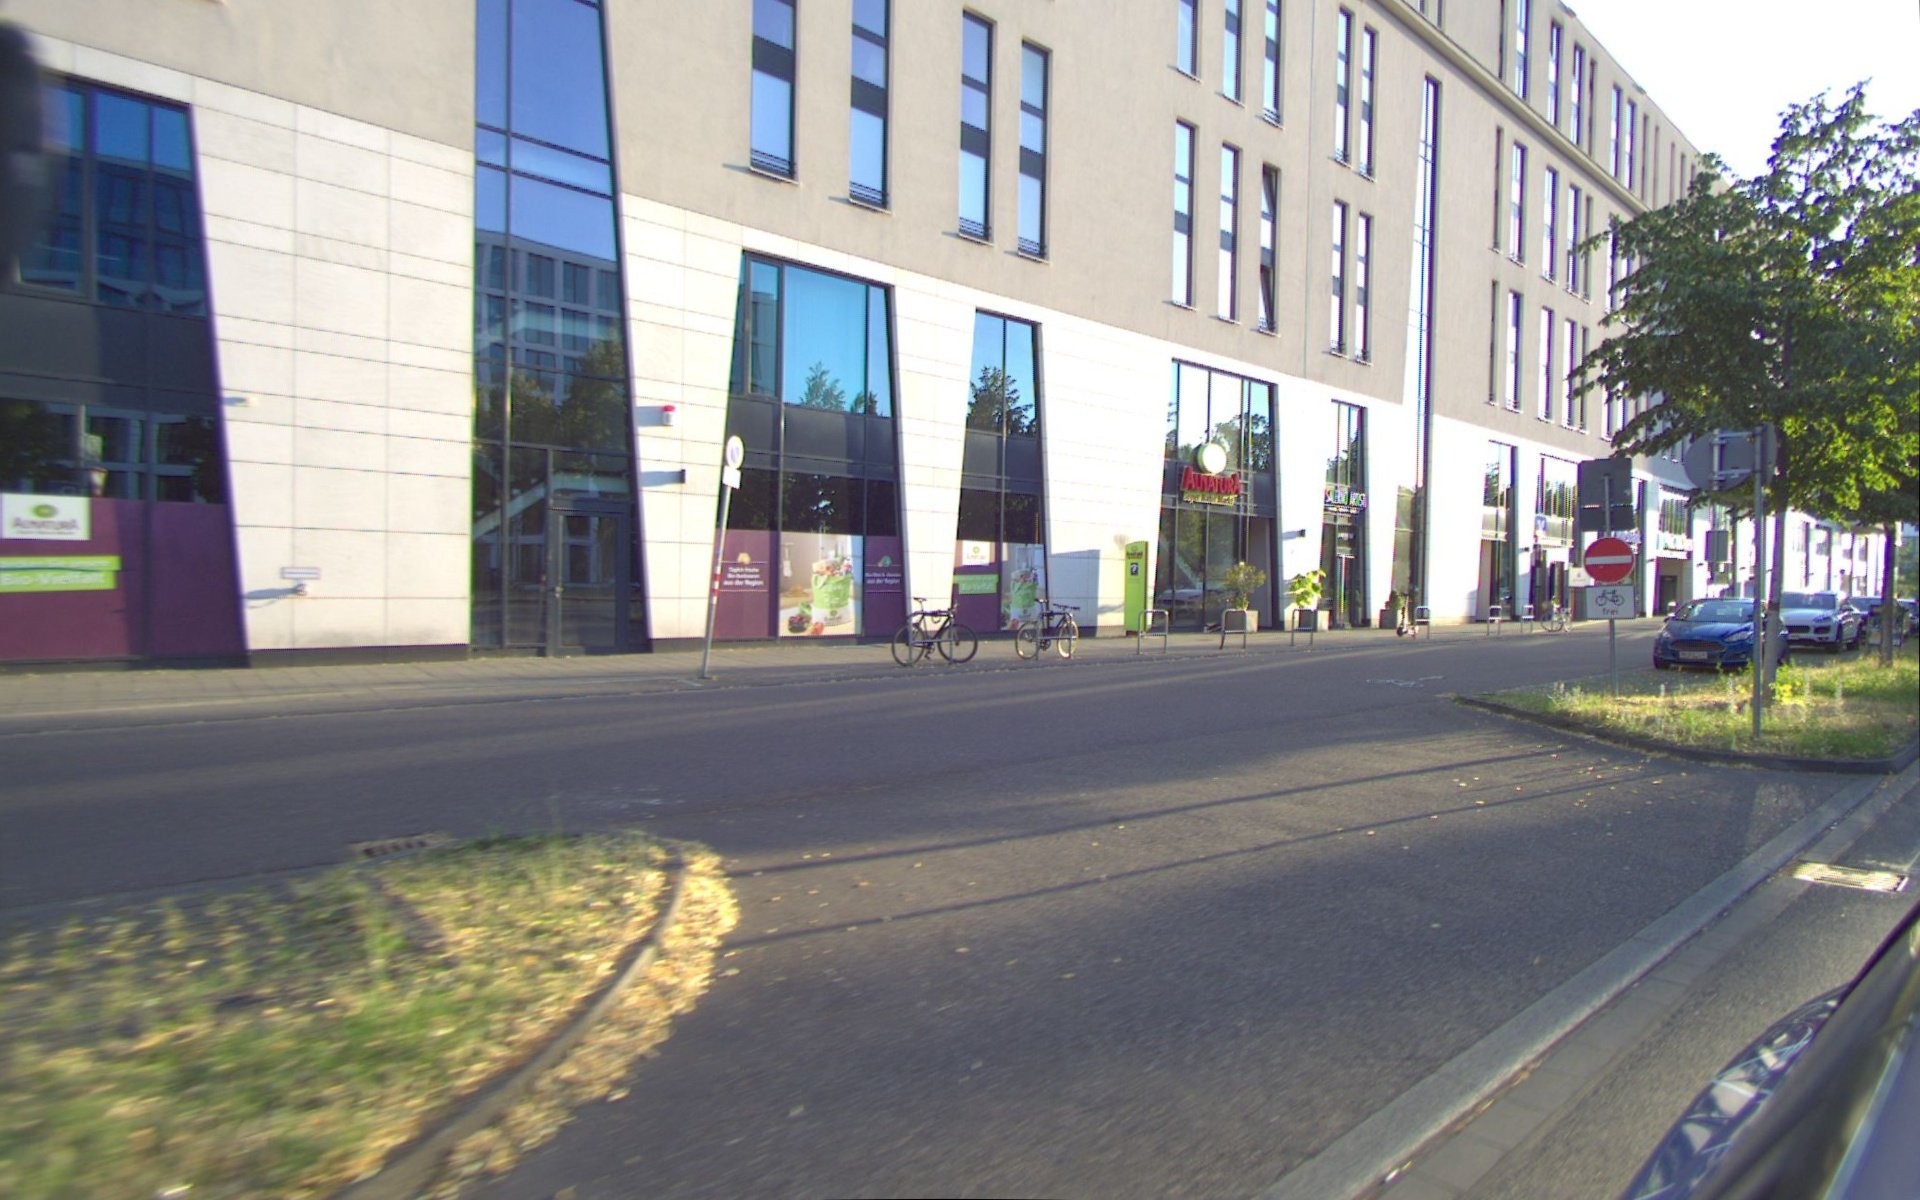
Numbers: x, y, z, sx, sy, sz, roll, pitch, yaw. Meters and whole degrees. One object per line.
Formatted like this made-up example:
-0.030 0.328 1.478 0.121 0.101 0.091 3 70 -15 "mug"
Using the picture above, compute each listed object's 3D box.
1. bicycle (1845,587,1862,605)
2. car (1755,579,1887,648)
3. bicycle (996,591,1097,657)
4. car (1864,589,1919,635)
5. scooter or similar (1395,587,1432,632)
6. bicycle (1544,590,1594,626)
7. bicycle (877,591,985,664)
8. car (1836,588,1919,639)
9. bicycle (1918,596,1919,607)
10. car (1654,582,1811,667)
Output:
61.395 -0.274 69.535 1.749 1.178 0.539 1 3 -40 "bicycle"
23.941 0.333 28.083 5.066 1.736 1.955 0 0 -40 "car"
1.552 0.403 17.933 1.925 1.073 0.519 0 4 -39 "bicycle"
34.965 0.407 37.325 4.730 1.568 1.946 0 2 -43 "car"
12.497 0.254 27.880 1.287 1.201 0.357 0 2 -39 "scooter or similar"
20.408 0.279 33.891 1.796 1.138 0.573 1 2 -29 "bicycle"
-0.437 0.417 16.080 1.740 1.085 0.448 0 3 -37 "bicycle"
29.737 0.402 32.491 4.404 1.549 1.858 0 0 -41 "car"
88.881 0.159 93.326 2.222 1.046 0.621 0 2 -42 "bicycle"
15.670 0.444 20.459 4.194 1.549 1.727 0 0 -41 "car"
